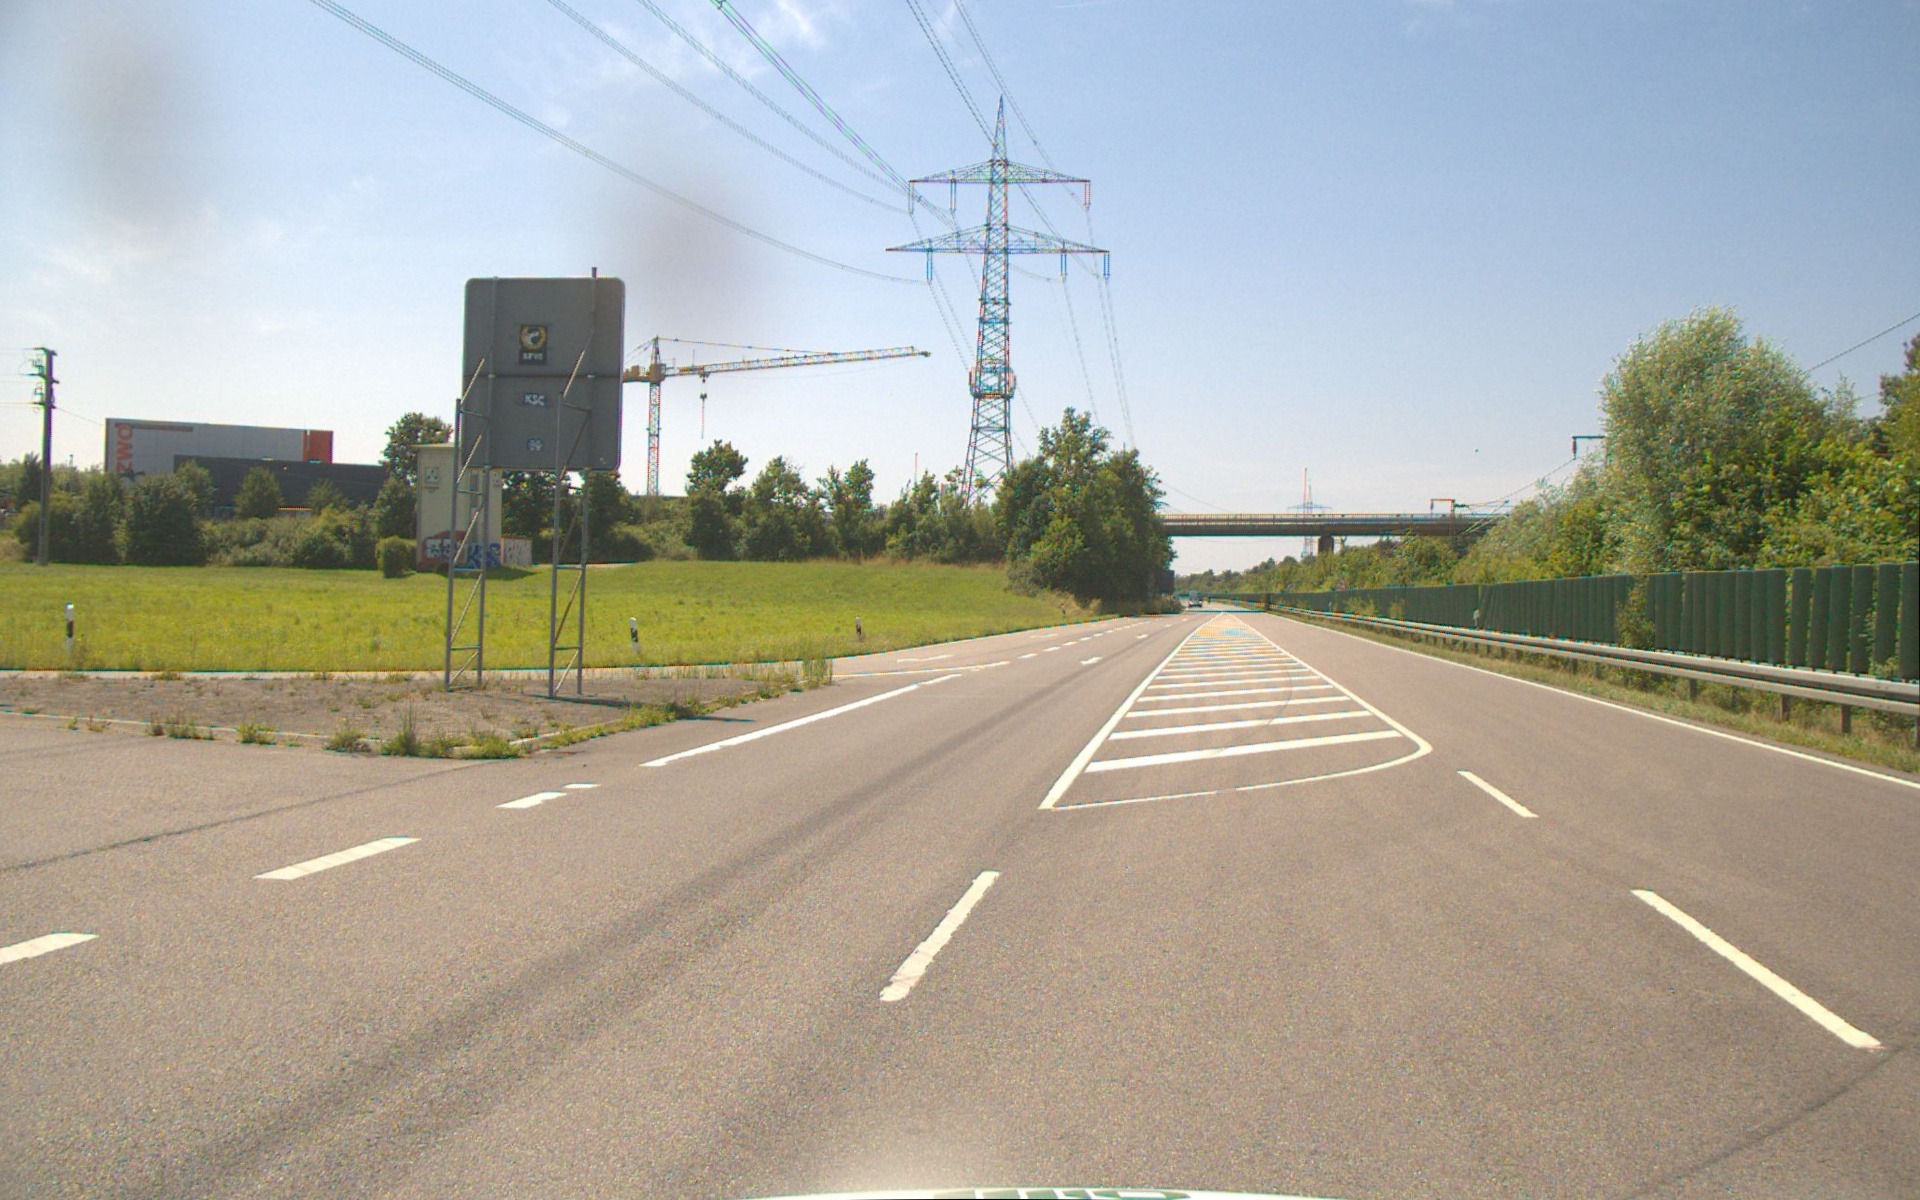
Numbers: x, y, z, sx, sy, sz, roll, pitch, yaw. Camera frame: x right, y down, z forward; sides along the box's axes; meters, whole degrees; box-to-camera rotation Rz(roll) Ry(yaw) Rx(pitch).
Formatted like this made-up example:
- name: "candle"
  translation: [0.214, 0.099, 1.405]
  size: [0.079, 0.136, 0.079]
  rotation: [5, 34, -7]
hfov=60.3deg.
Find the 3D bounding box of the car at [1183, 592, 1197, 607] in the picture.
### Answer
- name: "car"
  translation: [31.852, -0.079, 229.007]
  size: [1.951, 2.049, 4.003]
  rotation: [2, 0, 8]
